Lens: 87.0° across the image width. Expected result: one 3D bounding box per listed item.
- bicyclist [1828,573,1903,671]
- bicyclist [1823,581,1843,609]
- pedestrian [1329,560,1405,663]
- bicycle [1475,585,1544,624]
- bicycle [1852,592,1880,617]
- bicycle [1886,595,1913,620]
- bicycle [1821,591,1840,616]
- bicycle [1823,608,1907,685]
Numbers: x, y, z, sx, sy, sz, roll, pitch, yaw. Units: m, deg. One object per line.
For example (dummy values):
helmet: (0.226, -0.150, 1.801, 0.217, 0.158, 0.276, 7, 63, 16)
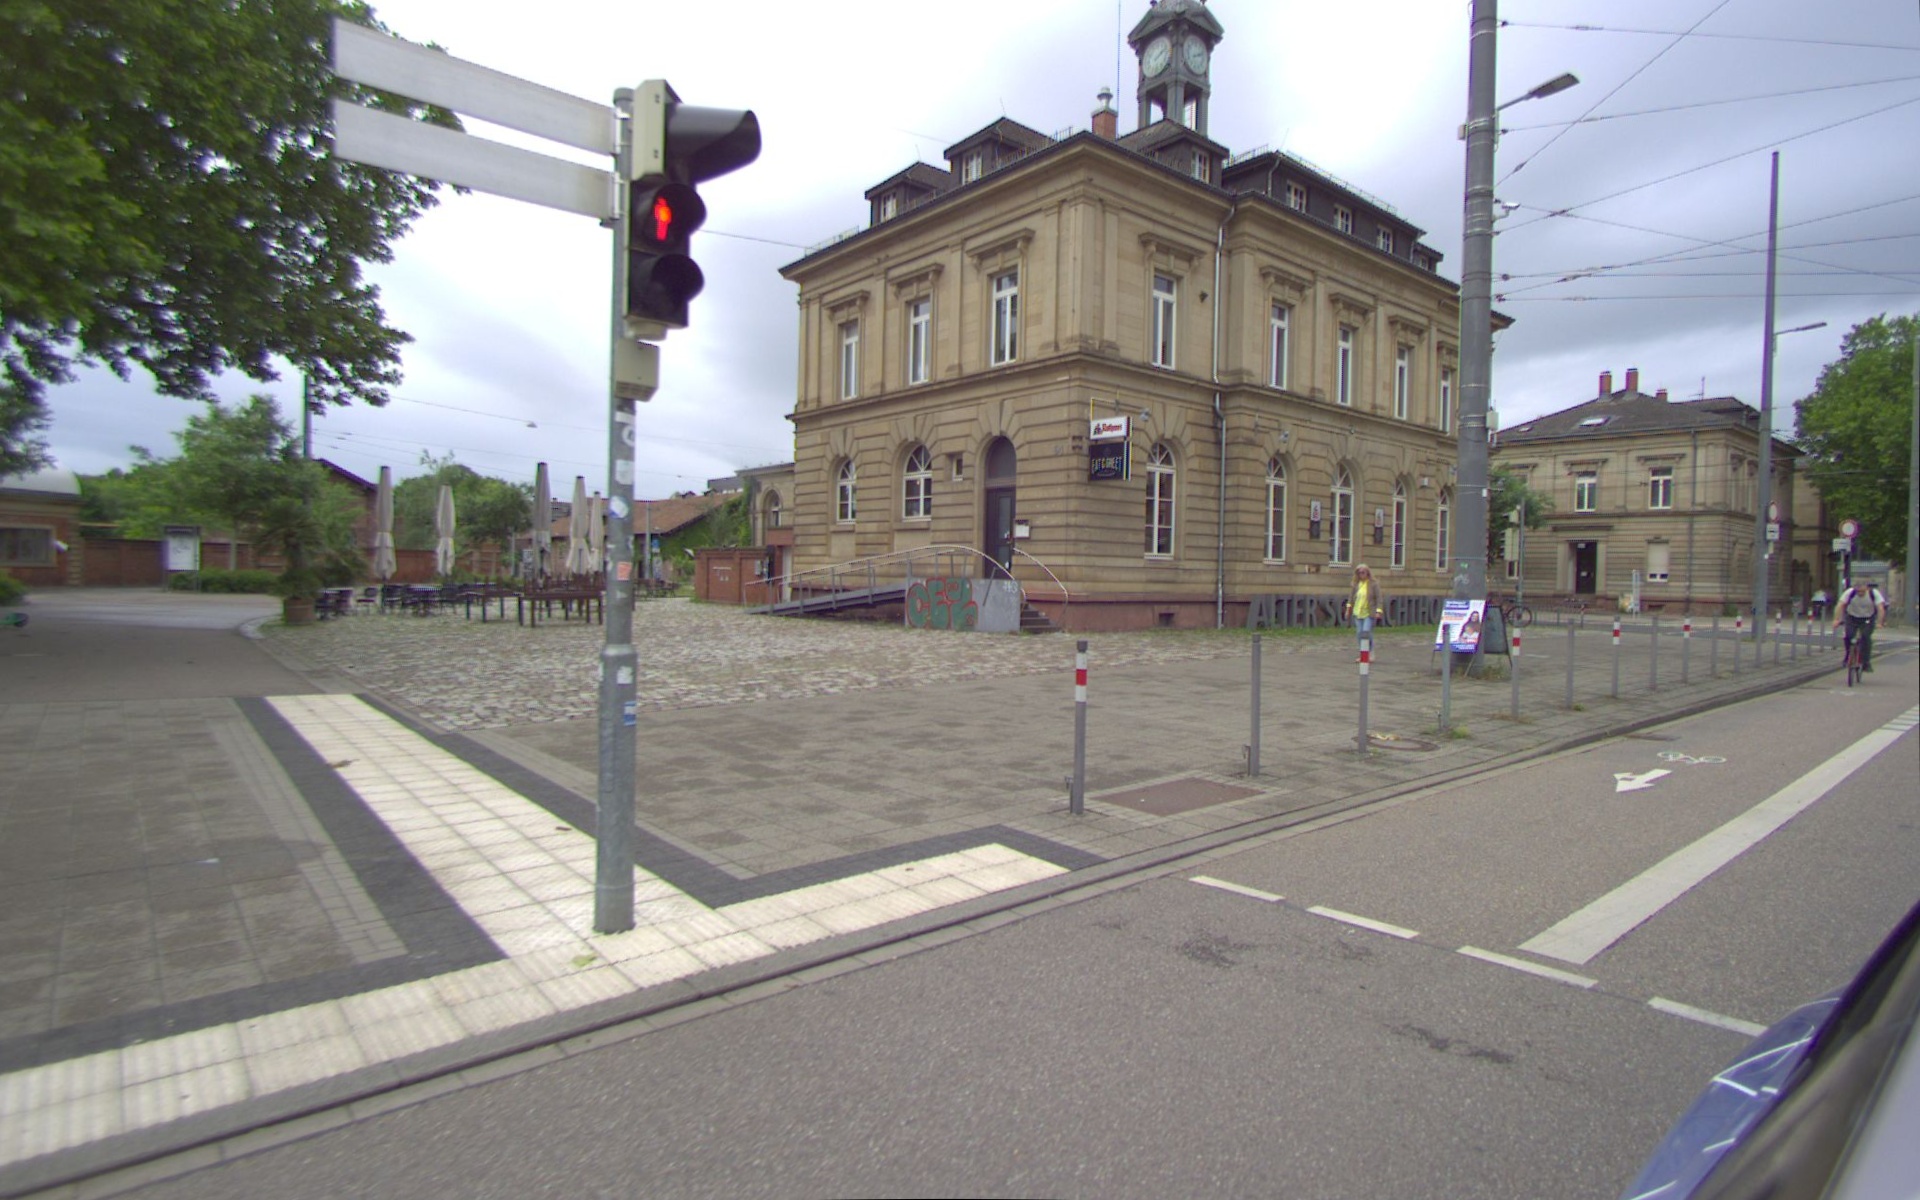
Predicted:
bicyclist: (15.700, 0.348, 17.543, 1.169, 1.620, 0.811, -1, 2, -42)
bicyclist: (44.643, -0.268, 51.747, 0.691, 1.417, 0.805, 2, 2, 38)
pedestrian: (6.968, 0.176, 17.331, 0.979, 1.699, 0.722, 0, 2, -30)
bicycle: (17.531, 0.124, 32.329, 1.845, 1.091, 0.541, 5, 4, 33)
bicycle: (41.352, 0.208, 46.182, 1.670, 1.081, 0.718, -1, 3, -41)
bicycle: (41.810, 0.325, 45.028, 1.670, 1.081, 0.718, -1, 3, -41)
bicycle: (44.461, 0.176, 51.688, 0.674, 1.179, 2.083, 2, 3, 41)
bicycle: (15.764, 0.772, 17.612, 2.238, 1.184, 0.814, -1, 3, -42)
